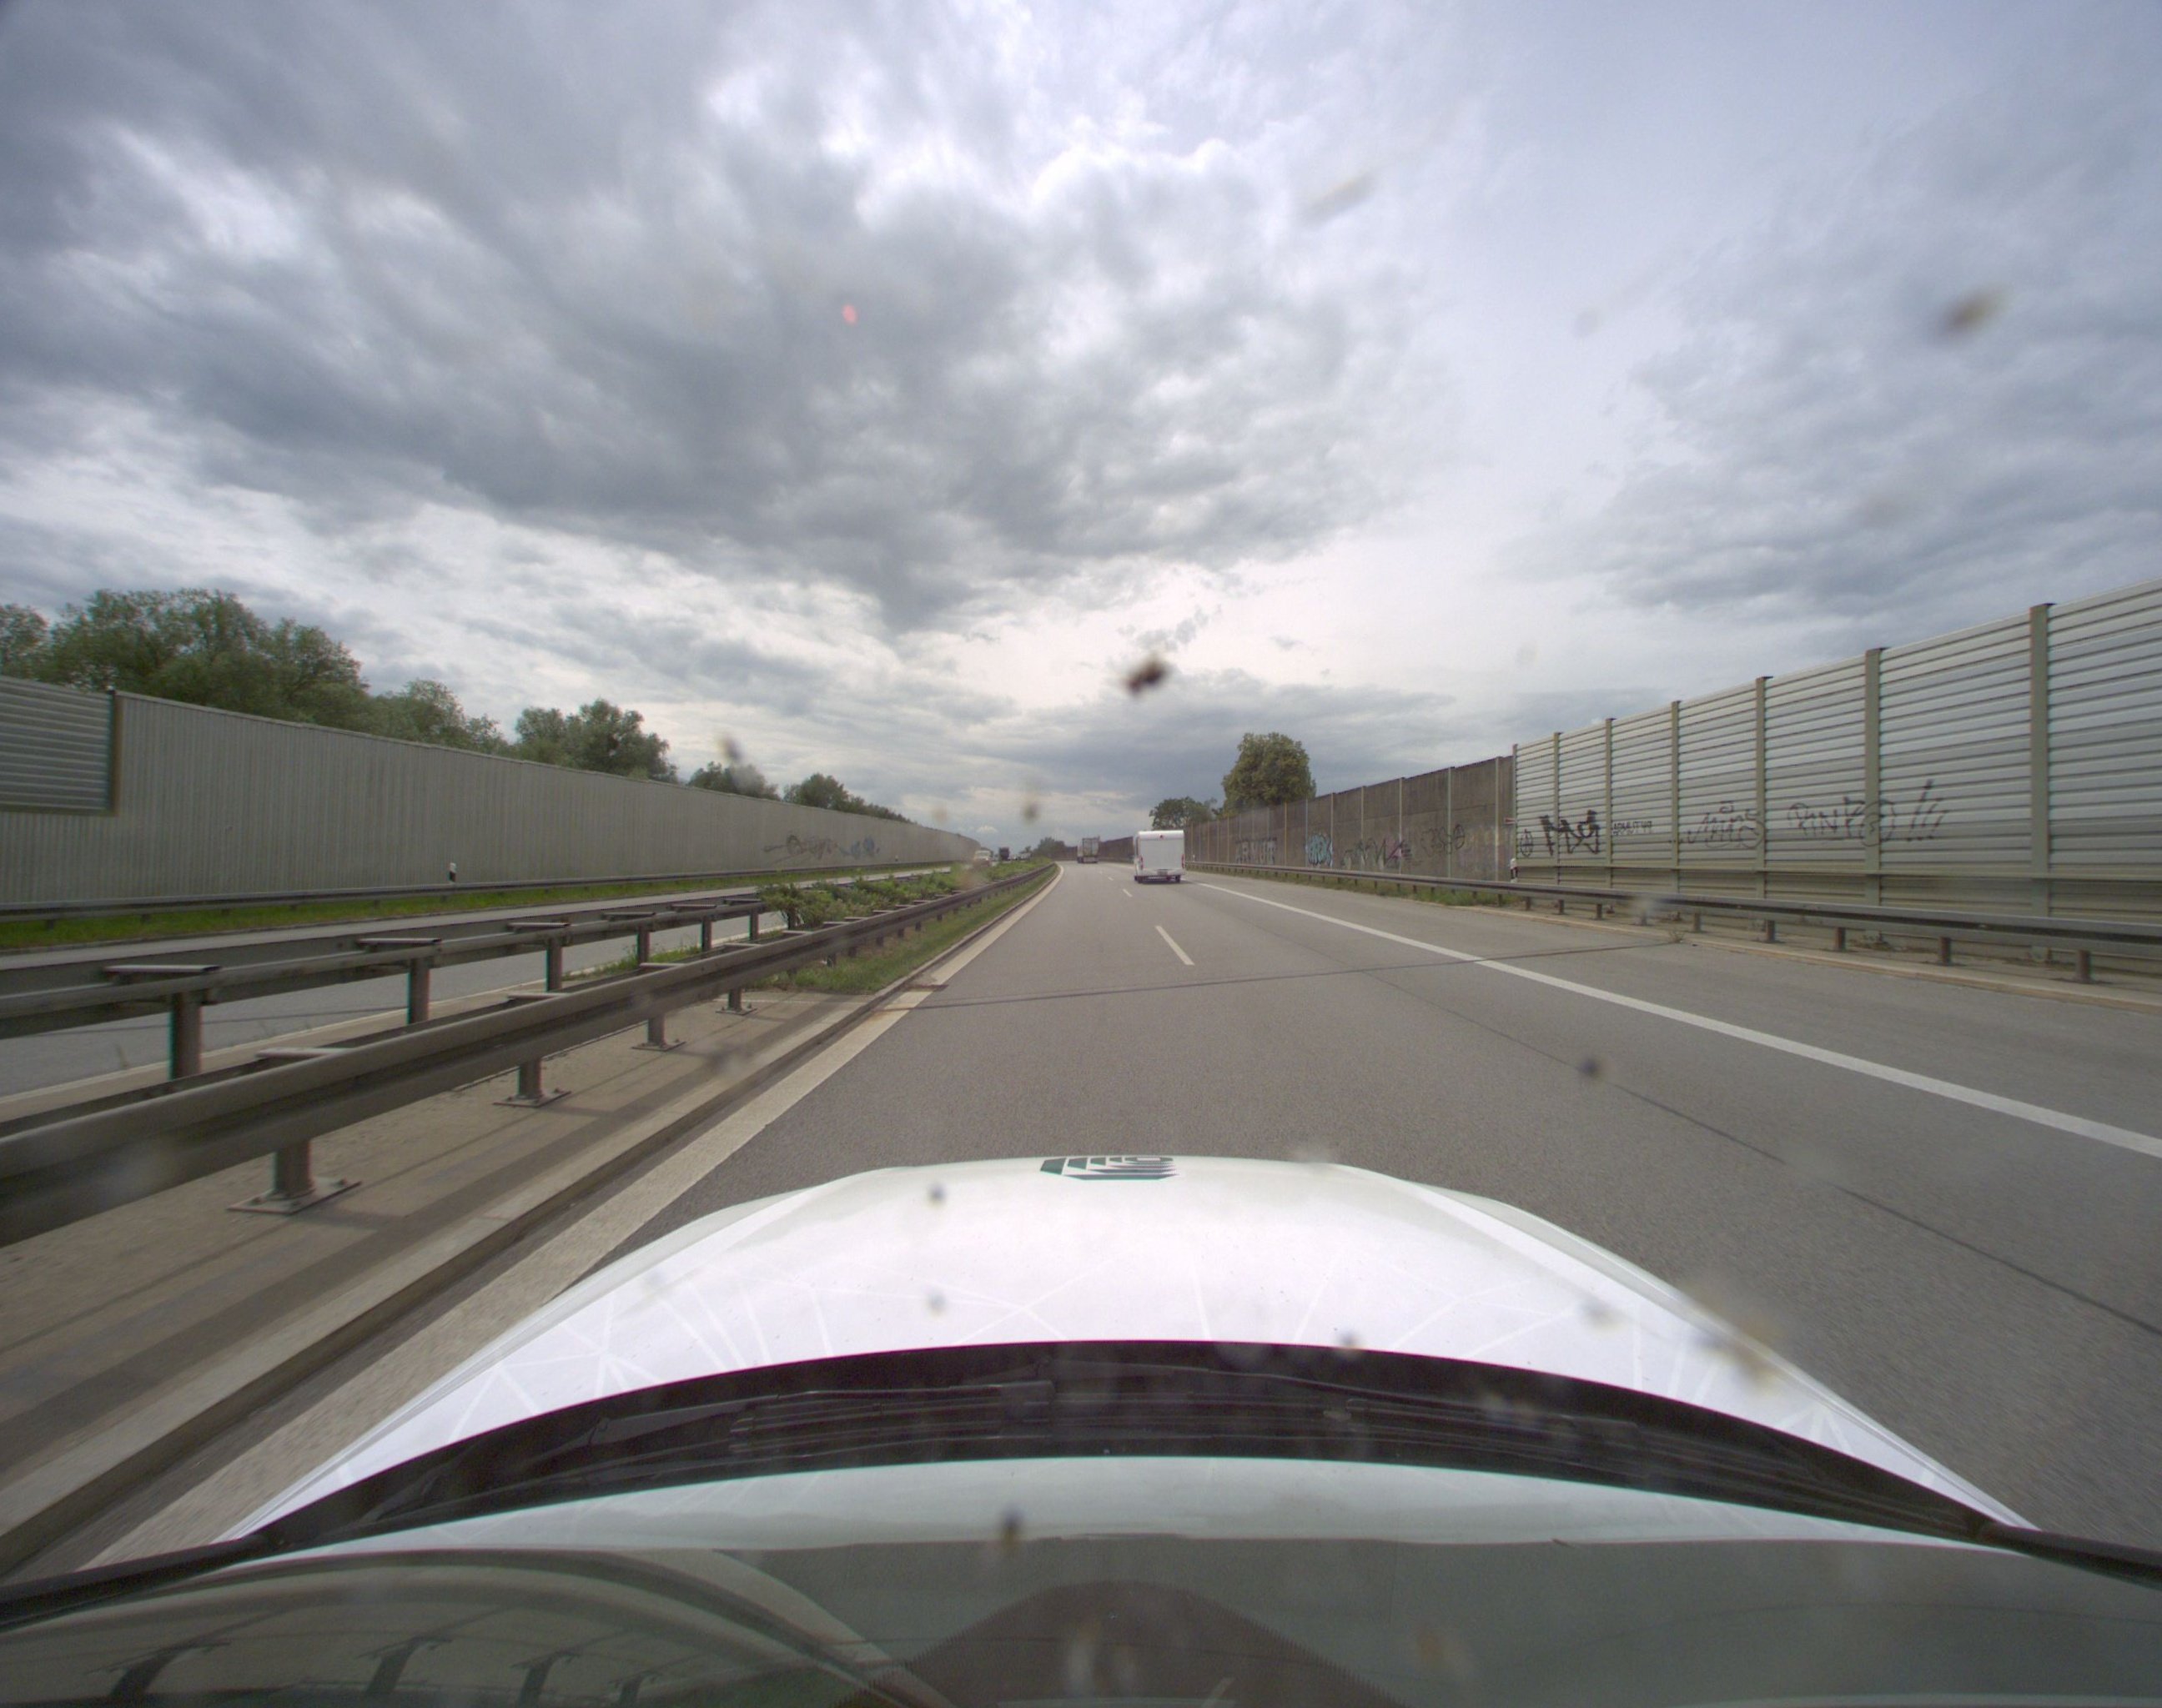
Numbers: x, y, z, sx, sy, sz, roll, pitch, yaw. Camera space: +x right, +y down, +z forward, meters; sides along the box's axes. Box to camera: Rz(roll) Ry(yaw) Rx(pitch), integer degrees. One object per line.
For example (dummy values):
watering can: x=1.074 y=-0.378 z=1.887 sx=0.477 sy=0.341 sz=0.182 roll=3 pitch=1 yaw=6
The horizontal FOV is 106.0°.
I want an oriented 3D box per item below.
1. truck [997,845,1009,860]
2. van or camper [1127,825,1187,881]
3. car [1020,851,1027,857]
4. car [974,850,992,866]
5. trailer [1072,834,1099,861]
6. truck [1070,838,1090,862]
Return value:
truck: x=-21.533 y=-0.341 z=224.870 sx=2.868 sy=3.858 sz=6.066 roll=-2 pitch=0 yaw=-4
van or camper: x=3.938 y=-0.064 z=43.548 sx=2.422 sy=2.696 sz=7.222 roll=-1 pitch=0 yaw=-1
car: x=-15.279 y=-0.036 z=215.165 sx=1.713 sy=1.642 sz=4.695 roll=-1 pitch=0 yaw=-5
car: x=-10.932 y=0.446 z=91.241 sx=1.738 sy=1.744 sz=4.621 roll=-2 pitch=0 yaw=-3
trailer: x=0.654 y=-0.930 z=135.179 sx=2.790 sy=4.175 sz=14.068 roll=-1 pitch=-1 yaw=-7
truck: x=-0.190 y=-0.704 z=141.878 sx=2.754 sy=3.960 sz=5.662 roll=-1 pitch=-1 yaw=-7
